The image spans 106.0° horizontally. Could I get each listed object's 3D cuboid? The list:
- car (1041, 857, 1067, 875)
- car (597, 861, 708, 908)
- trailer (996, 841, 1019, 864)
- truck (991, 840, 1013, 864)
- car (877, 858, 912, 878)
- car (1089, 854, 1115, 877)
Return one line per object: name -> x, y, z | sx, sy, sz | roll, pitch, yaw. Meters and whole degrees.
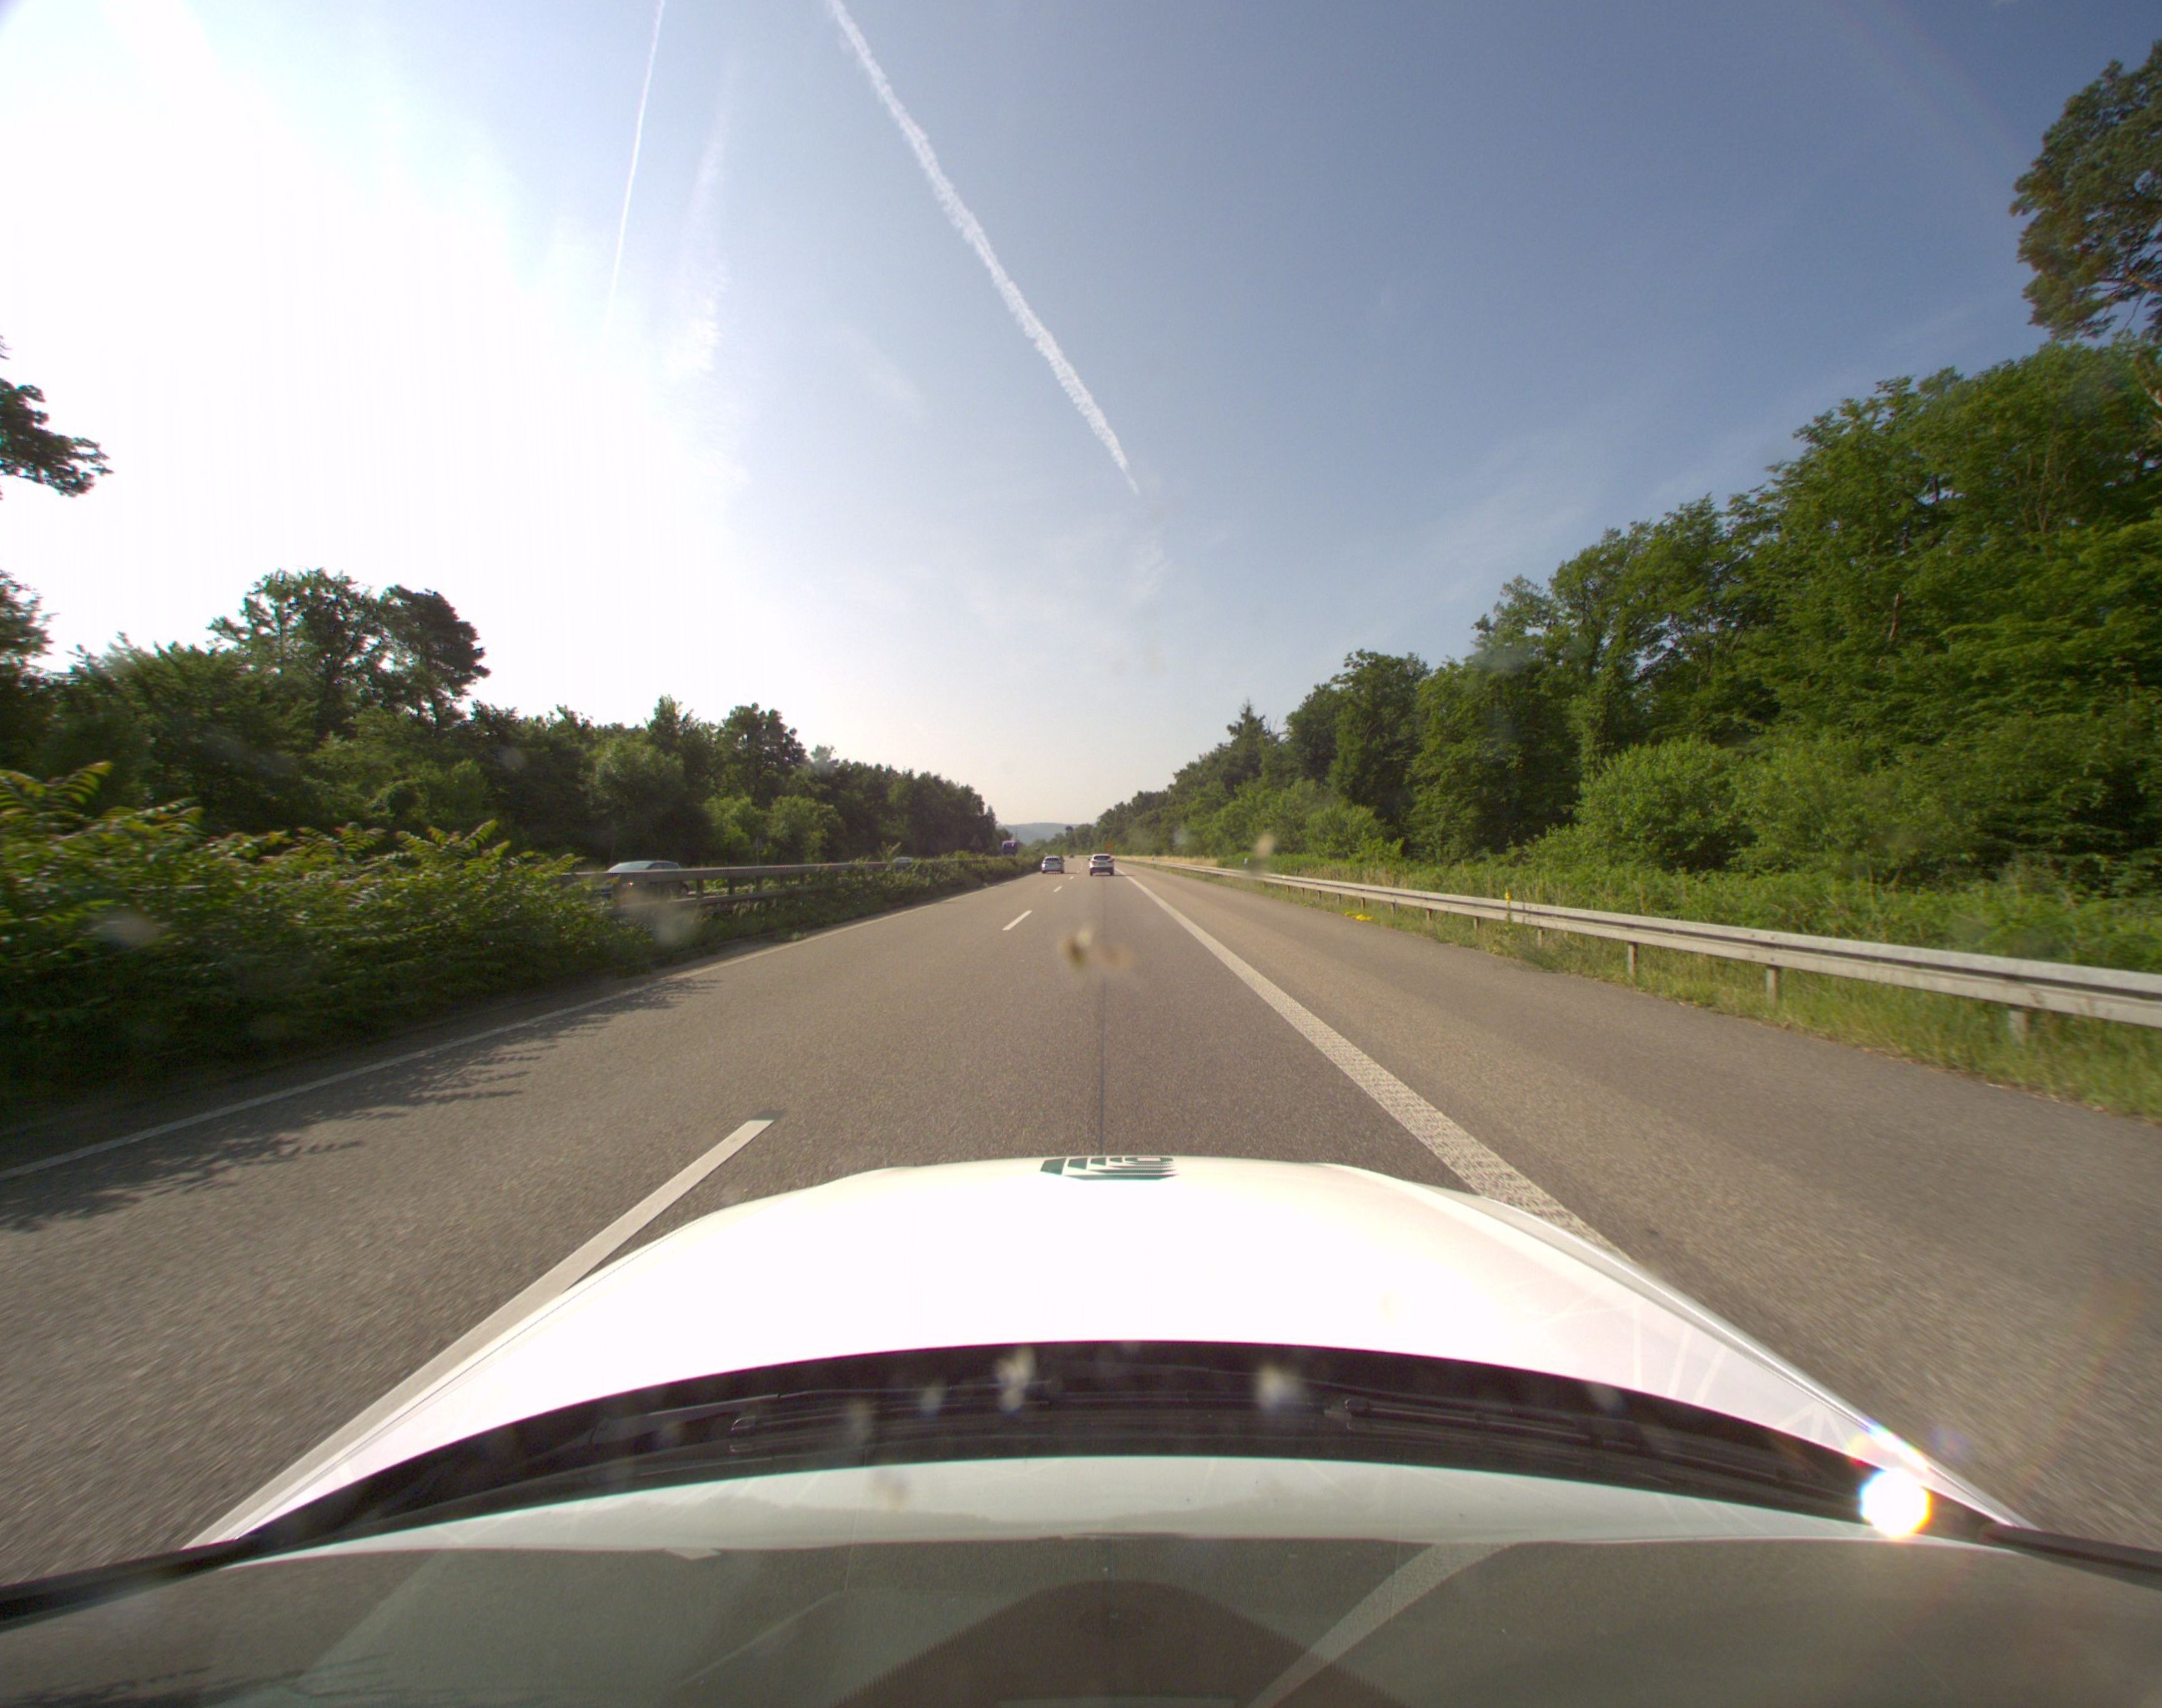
car -> -2.273, 0.987, 69.354 | 1.785, 1.438, 5.282 | -1, 0, 3
car -> -14.379, 0.994, 27.595 | 1.551, 1.429, 3.911 | -1, 0, 2
trailer -> -13.413, -0.274, 149.274 | 2.821, 3.998, 11.435 | -1, 0, 1
truck -> -13.598, -0.261, 140.716 | 2.775, 3.998, 8.417 | -1, 0, 1
car -> -14.178, 1.033, 62.133 | 1.551, 1.429, 3.911 | -1, 0, 2
car -> 1.566, 0.808, 60.640 | 1.867, 1.586, 4.001 | 1, 0, 1
